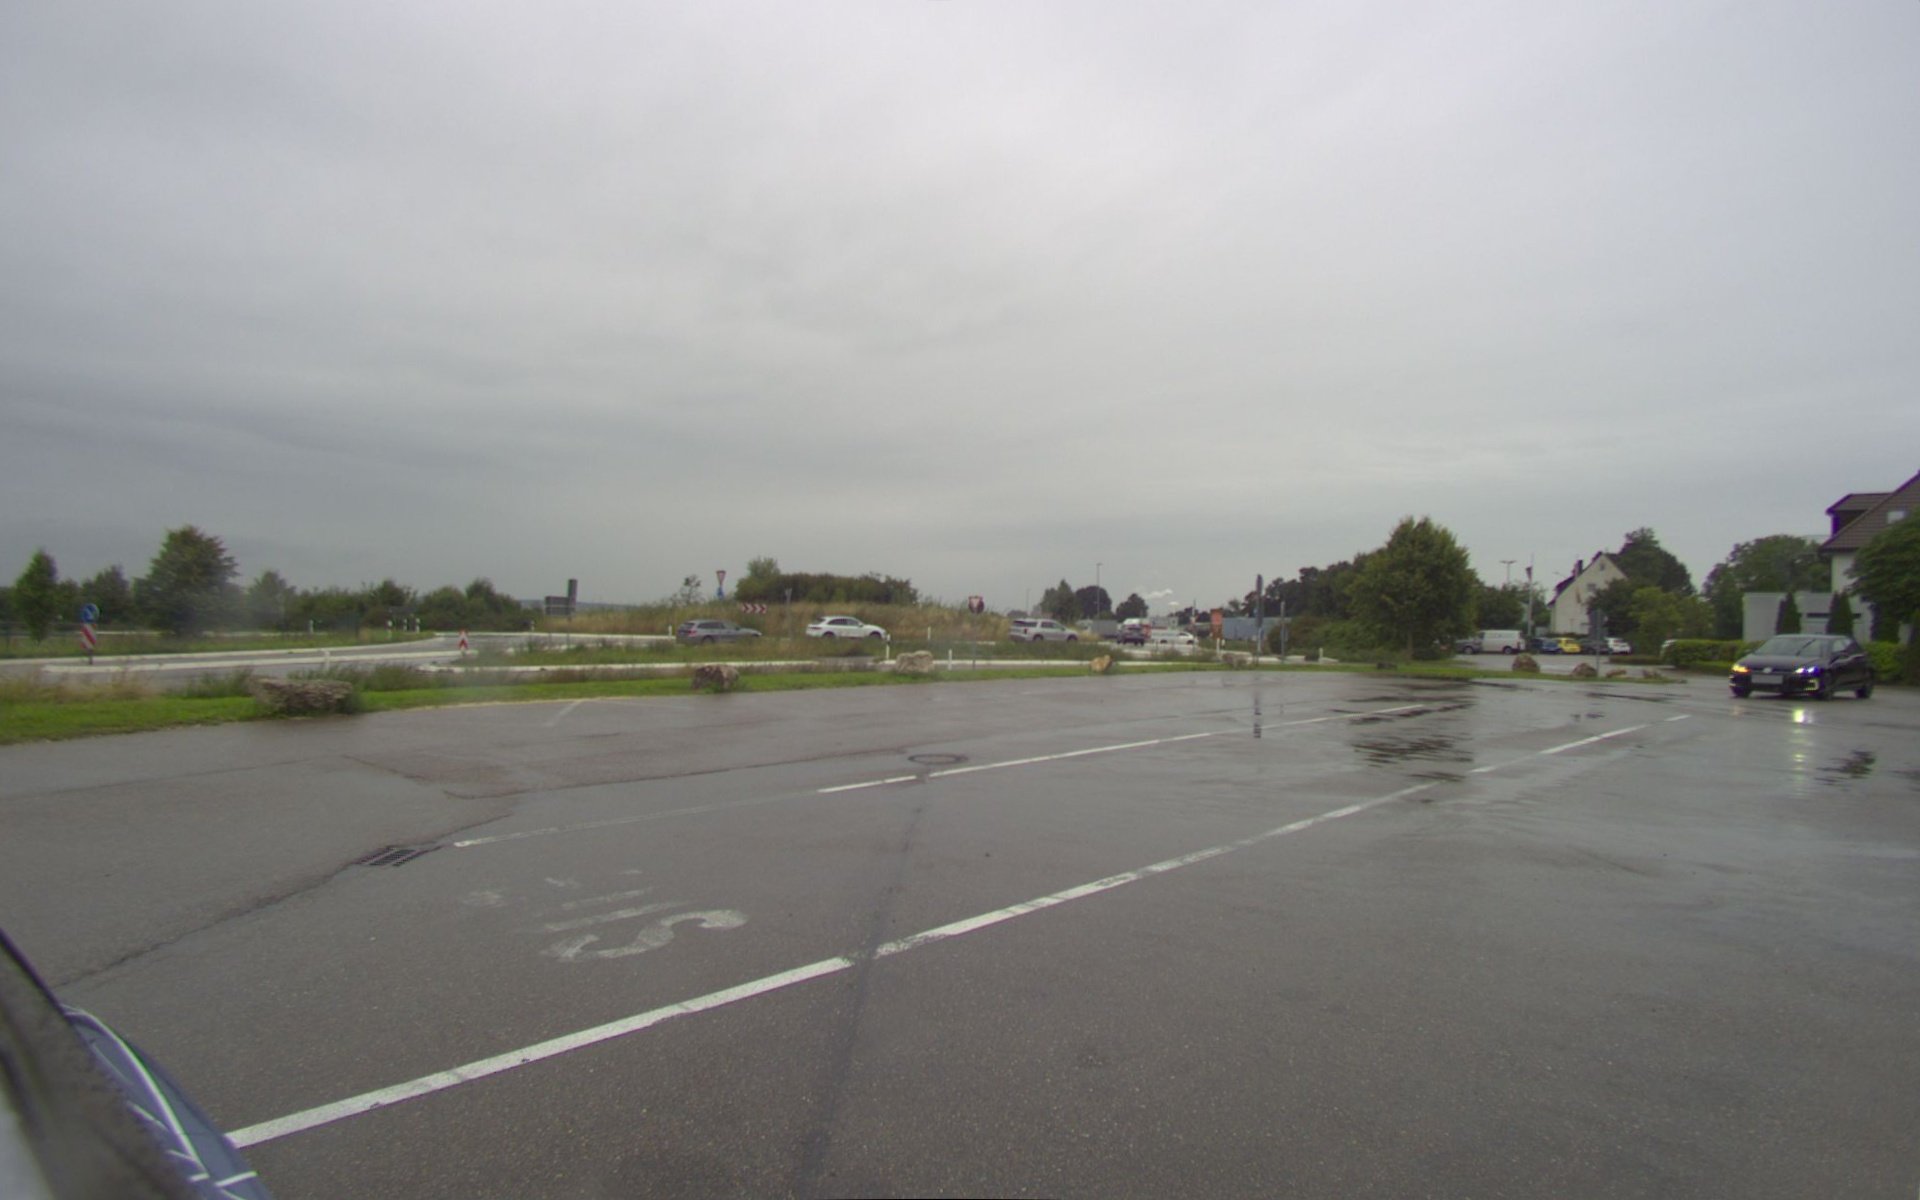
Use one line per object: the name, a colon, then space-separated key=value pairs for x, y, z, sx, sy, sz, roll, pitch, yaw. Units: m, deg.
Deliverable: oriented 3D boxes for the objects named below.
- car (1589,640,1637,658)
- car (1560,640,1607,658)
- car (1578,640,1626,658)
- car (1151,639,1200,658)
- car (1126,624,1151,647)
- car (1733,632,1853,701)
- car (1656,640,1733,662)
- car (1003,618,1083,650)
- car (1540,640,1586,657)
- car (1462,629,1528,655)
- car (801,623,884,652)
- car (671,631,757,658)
car: x=57.472 y=4.287 z=89.092 sx=1.561 sy=1.469 sz=3.684 roll=0 pitch=-2 yaw=-5
car: x=54.207 y=4.229 z=88.025 sx=1.561 sy=1.469 sz=3.684 roll=0 pitch=-2 yaw=-5
car: x=55.880 y=4.245 z=88.139 sx=1.561 sy=1.469 sz=3.684 roll=0 pitch=-2 yaw=-5
car: x=20.852 y=4.668 z=97.997 sx=4.291 sy=1.772 sz=1.754 roll=2 pitch=-3 yaw=-18
car: x=14.865 y=2.978 z=84.220 sx=1.700 sy=1.830 sz=3.695 roll=0 pitch=-2 yaw=16
car: x=19.304 y=1.479 z=23.388 sx=1.780 sy=1.444 sz=4.018 roll=-1 pitch=-2 yaw=45
car: x=51.089 y=3.519 z=70.419 sx=4.187 sy=1.509 sz=1.694 roll=-1 pitch=-3 yaw=41
car: x=5.171 y=2.130 z=62.882 sx=4.565 sy=1.887 sz=2.006 roll=1 pitch=-2 yaw=-29
car: x=52.486 y=4.220 z=88.108 sx=1.532 sy=1.469 sz=3.684 roll=0 pitch=-2 yaw=-5
car: x=43.671 y=3.370 z=82.634 sx=4.533 sy=2.049 sz=1.622 roll=-1 pitch=-2 yaw=42
car: x=-6.619 y=2.116 z=57.063 sx=4.310 sy=1.596 sz=1.699 roll=1 pitch=-2 yaw=-28
car: x=-12.552 y=2.264 z=51.820 sx=3.983 sy=1.336 sz=1.695 roll=2 pitch=-2 yaw=-44
